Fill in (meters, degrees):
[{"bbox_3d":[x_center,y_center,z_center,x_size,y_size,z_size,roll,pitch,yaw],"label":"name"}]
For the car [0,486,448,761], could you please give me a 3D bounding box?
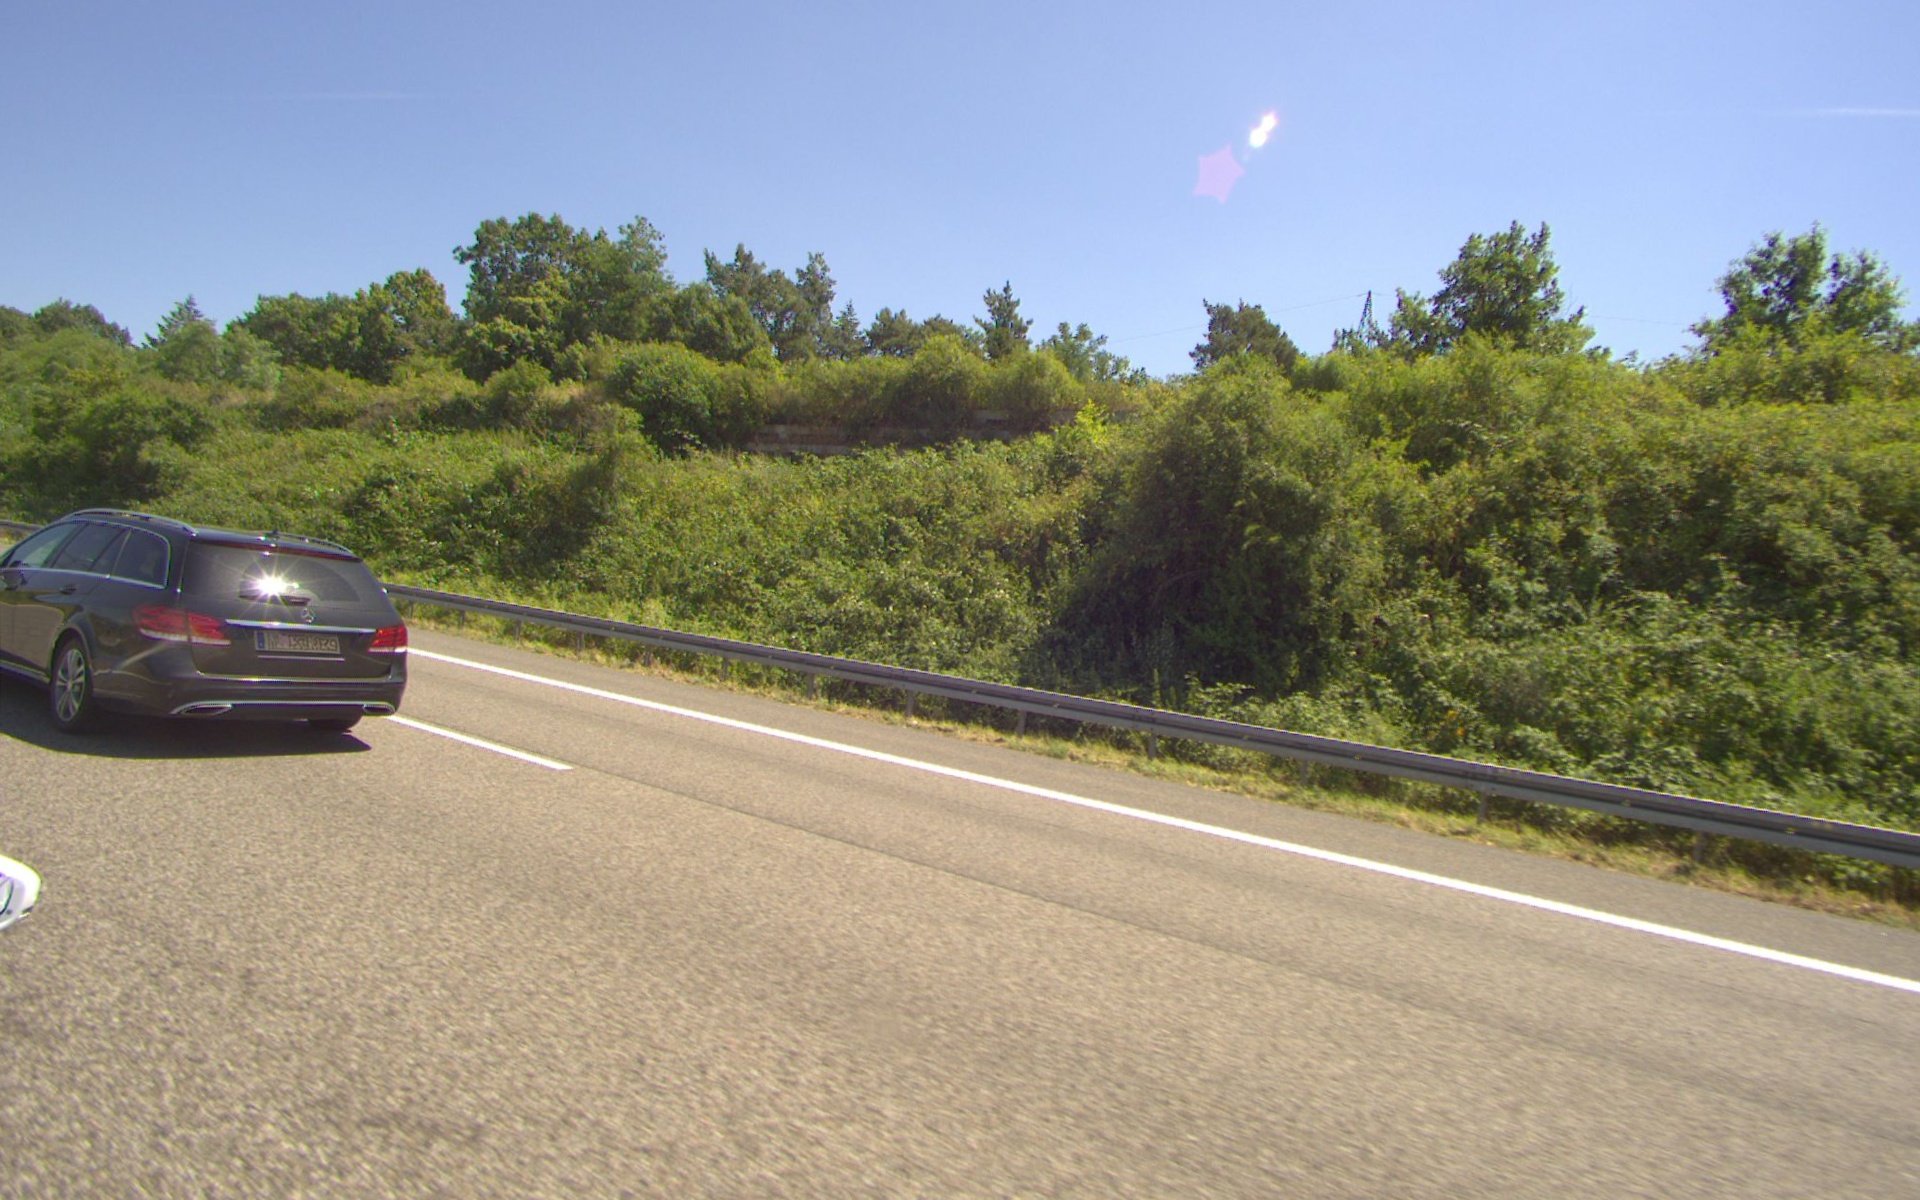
[{"bbox_3d":[-6.381,0.046,7.975,4.659,1.523,1.845,7,-1,31],"label":"car"}]
